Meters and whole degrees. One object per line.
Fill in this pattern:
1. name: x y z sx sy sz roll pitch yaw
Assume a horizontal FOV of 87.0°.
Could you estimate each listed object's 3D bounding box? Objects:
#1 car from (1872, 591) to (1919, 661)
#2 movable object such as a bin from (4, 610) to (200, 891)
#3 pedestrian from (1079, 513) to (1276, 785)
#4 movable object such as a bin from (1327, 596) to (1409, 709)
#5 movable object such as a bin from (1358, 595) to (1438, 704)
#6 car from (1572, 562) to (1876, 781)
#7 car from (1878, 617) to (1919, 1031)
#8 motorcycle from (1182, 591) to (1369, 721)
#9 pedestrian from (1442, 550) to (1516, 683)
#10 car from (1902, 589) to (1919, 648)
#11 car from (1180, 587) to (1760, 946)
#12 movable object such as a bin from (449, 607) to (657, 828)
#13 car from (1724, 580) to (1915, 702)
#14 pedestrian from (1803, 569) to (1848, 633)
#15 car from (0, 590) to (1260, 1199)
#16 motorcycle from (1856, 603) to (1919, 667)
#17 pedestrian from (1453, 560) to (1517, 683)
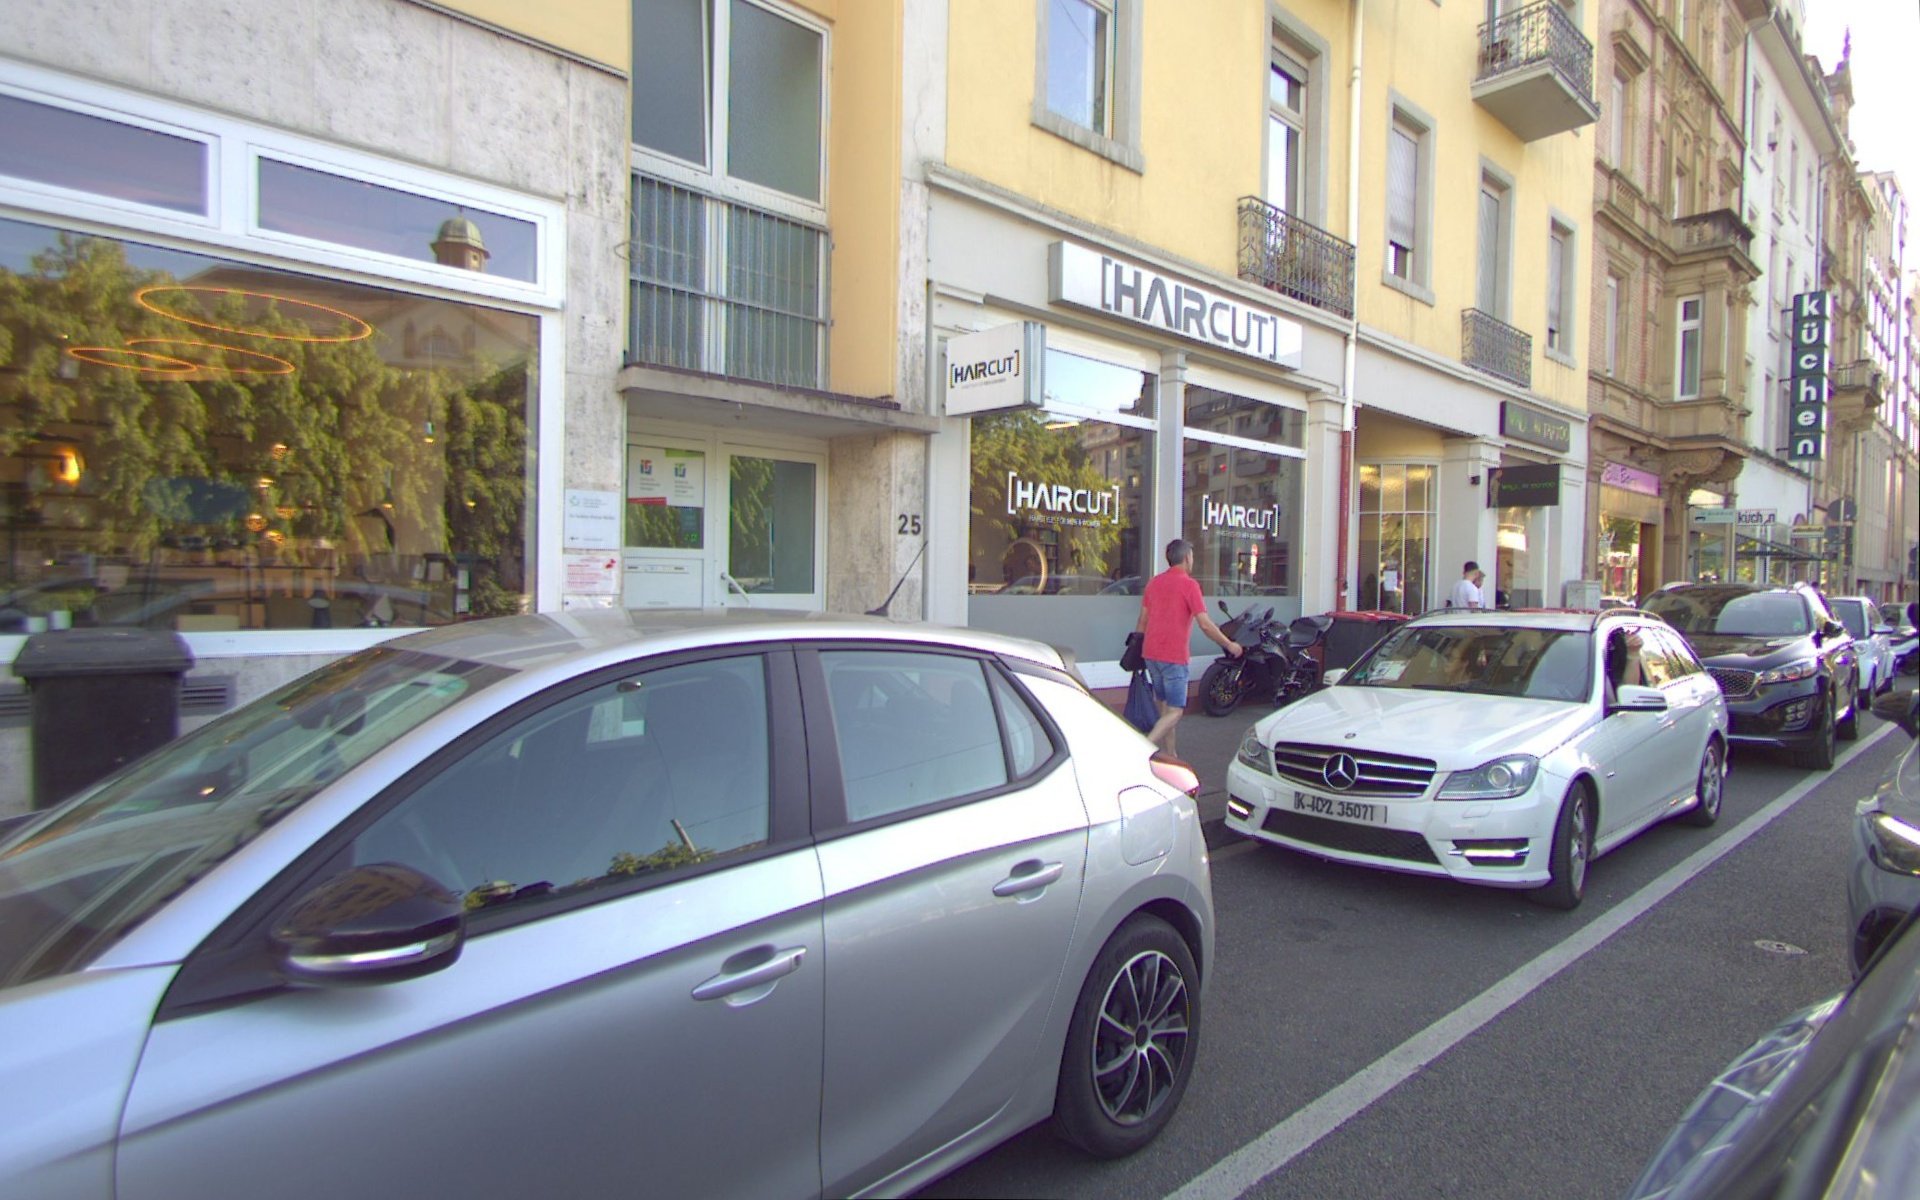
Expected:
1. car: 22.206 0.550 23.070 3.931 1.504 1.713 0 1 -42
2. movable object such as a bin: -3.700 0.586 4.391 0.591 1.041 0.812 -1 2 -40
3. pedestrian: 1.560 0.299 7.331 0.989 1.805 0.868 0 4 -32
4. movable object such as a bin: 4.636 0.567 11.503 0.633 1.222 0.647 0 0 -40
5. movable object such as a bin: 5.146 0.561 11.892 0.633 1.222 0.647 0 0 -40
6. car: 7.873 0.533 10.235 1.853 1.719 4.623 1 1 45
7. car: 5.387 0.781 4.280 4.183 1.396 1.846 0 1 -42
8. motorcycle: 3.321 0.518 10.530 2.208 1.179 0.773 0 4 -41
9. pedestrian: 6.658 0.199 12.984 0.689 1.637 0.641 0 0 -42
10. car: 26.400 0.479 26.865 3.931 1.504 1.713 0 1 -42
11. car: 3.460 0.674 6.381 4.519 1.480 1.757 0 1 -42
12. movable object such as a bin: -2.253 0.588 5.595 0.878 1.066 0.752 0 1 -40
13. car: 12.708 0.522 14.931 2.965 1.587 1.695 0 1 -40
14. pedestrian: 22.446 0.017 26.244 0.750 1.637 0.794 0 1 -43
15. car: -1.032 0.696 2.322 3.642 1.415 1.652 0 1 -42
16. motorcycle: 19.287 0.705 20.522 1.514 1.248 0.771 1 0 1
17. pedestrian: 7.177 0.278 13.841 0.631 1.637 0.572 0 0 -40
